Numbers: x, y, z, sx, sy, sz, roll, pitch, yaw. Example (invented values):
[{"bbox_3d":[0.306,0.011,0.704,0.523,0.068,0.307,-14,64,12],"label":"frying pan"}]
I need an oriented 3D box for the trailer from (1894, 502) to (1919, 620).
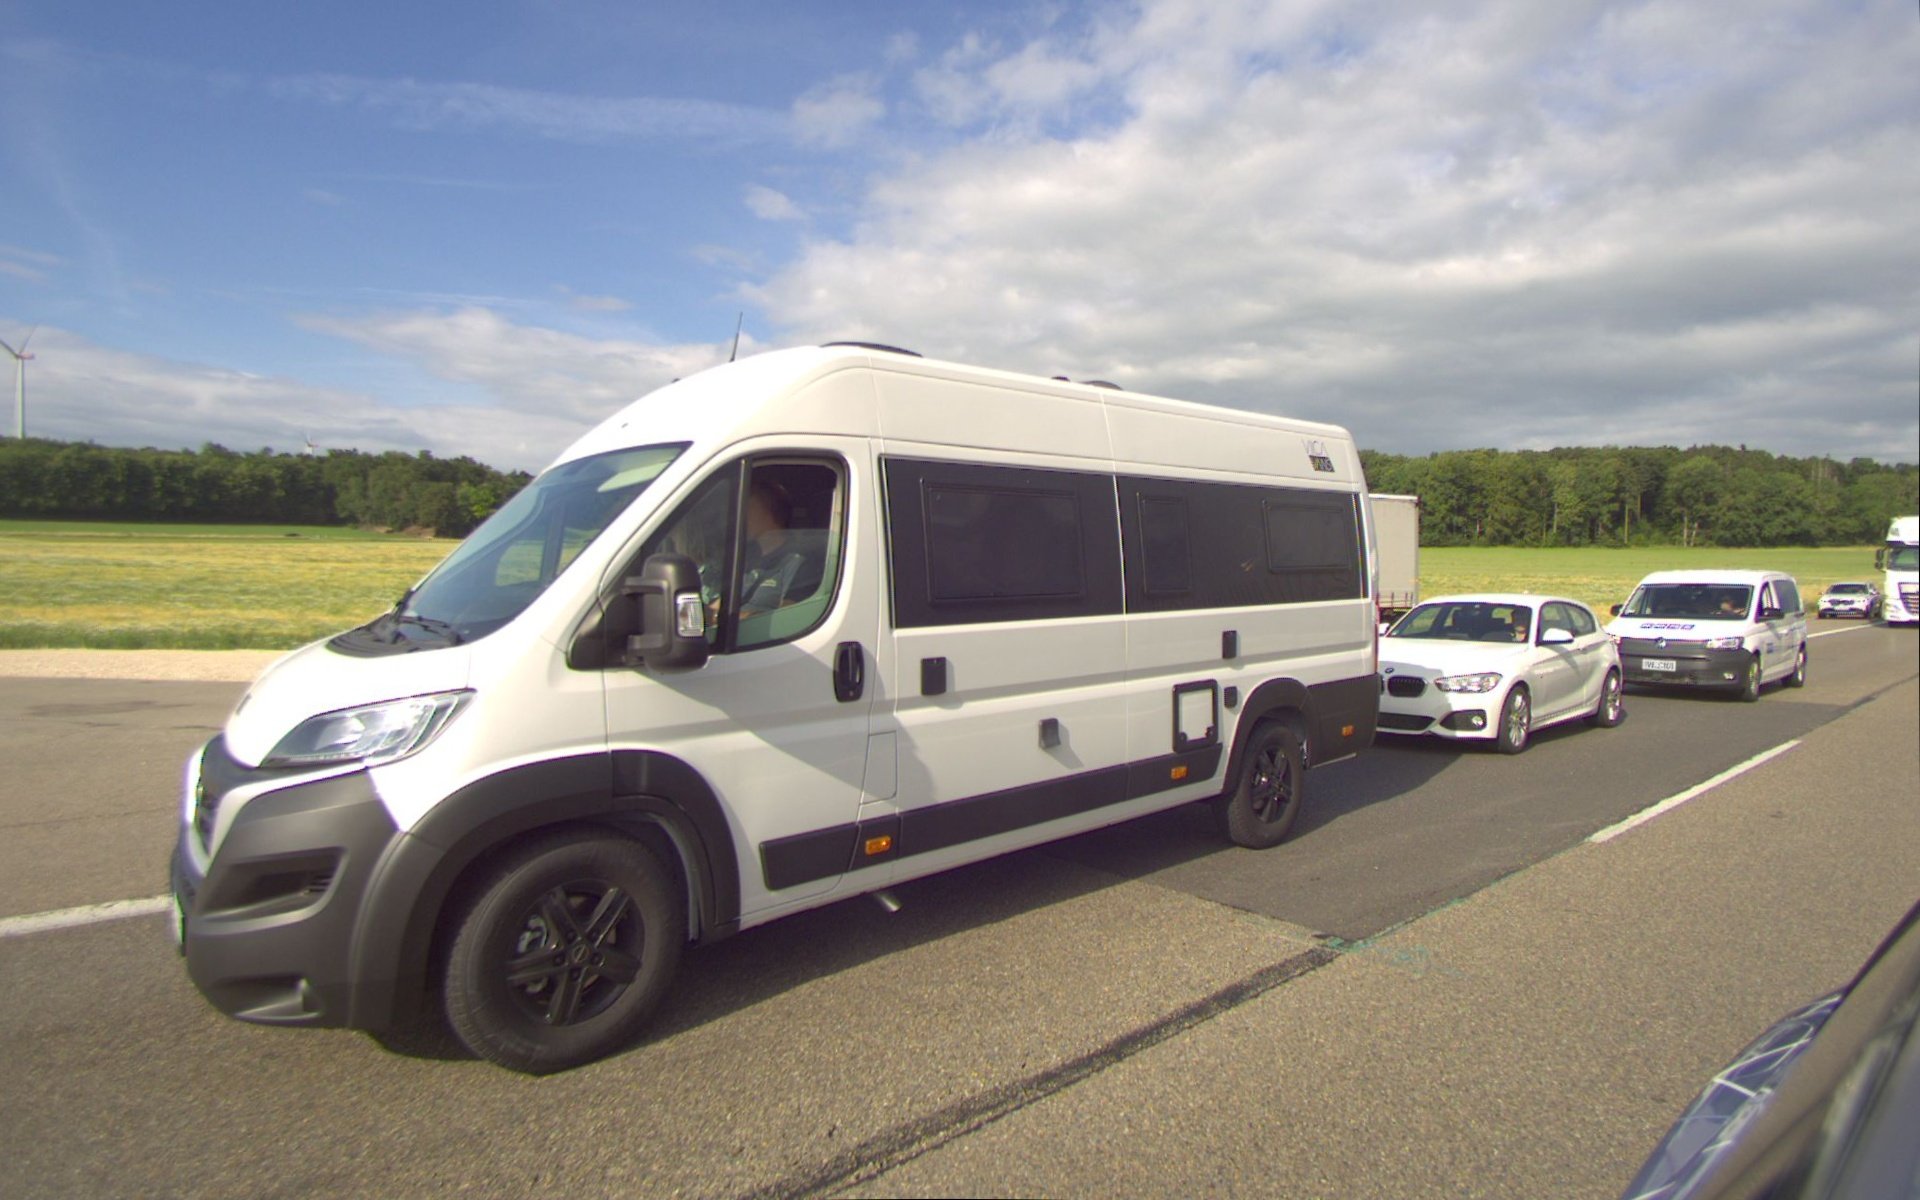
[{"bbox_3d":[39.922,-1.551,40.192,13.778,4.212,2.739,-2,1,-41],"label":"trailer"}]

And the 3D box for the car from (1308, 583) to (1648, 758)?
[{"bbox_3d":[5.445,0.554,10.409,4.158,1.450,1.706,-1,1,-41],"label":"car"}]

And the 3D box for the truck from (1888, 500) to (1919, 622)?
[{"bbox_3d":[35.599,-1.416,36.365,5.668,4.226,2.733,-2,1,-41],"label":"truck"}]

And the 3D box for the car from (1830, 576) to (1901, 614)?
[{"bbox_3d":[40.428,-0.263,45.146,4.595,1.612,1.807,-1,2,-41],"label":"car"}]

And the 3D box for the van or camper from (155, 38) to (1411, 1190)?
[{"bbox_3d":[-0.181,-0.020,5.280,6.222,2.714,2.219,-1,1,-41],"label":"van or camper"}]

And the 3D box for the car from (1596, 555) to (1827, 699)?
[{"bbox_3d":[11.028,0.310,14.714,4.620,1.779,1.727,-1,0,-41],"label":"car"}]

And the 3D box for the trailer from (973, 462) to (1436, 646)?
[{"bbox_3d":[7.001,-1.108,27.378,13.544,4.213,2.748,0,0,-26],"label":"trailer"}]
